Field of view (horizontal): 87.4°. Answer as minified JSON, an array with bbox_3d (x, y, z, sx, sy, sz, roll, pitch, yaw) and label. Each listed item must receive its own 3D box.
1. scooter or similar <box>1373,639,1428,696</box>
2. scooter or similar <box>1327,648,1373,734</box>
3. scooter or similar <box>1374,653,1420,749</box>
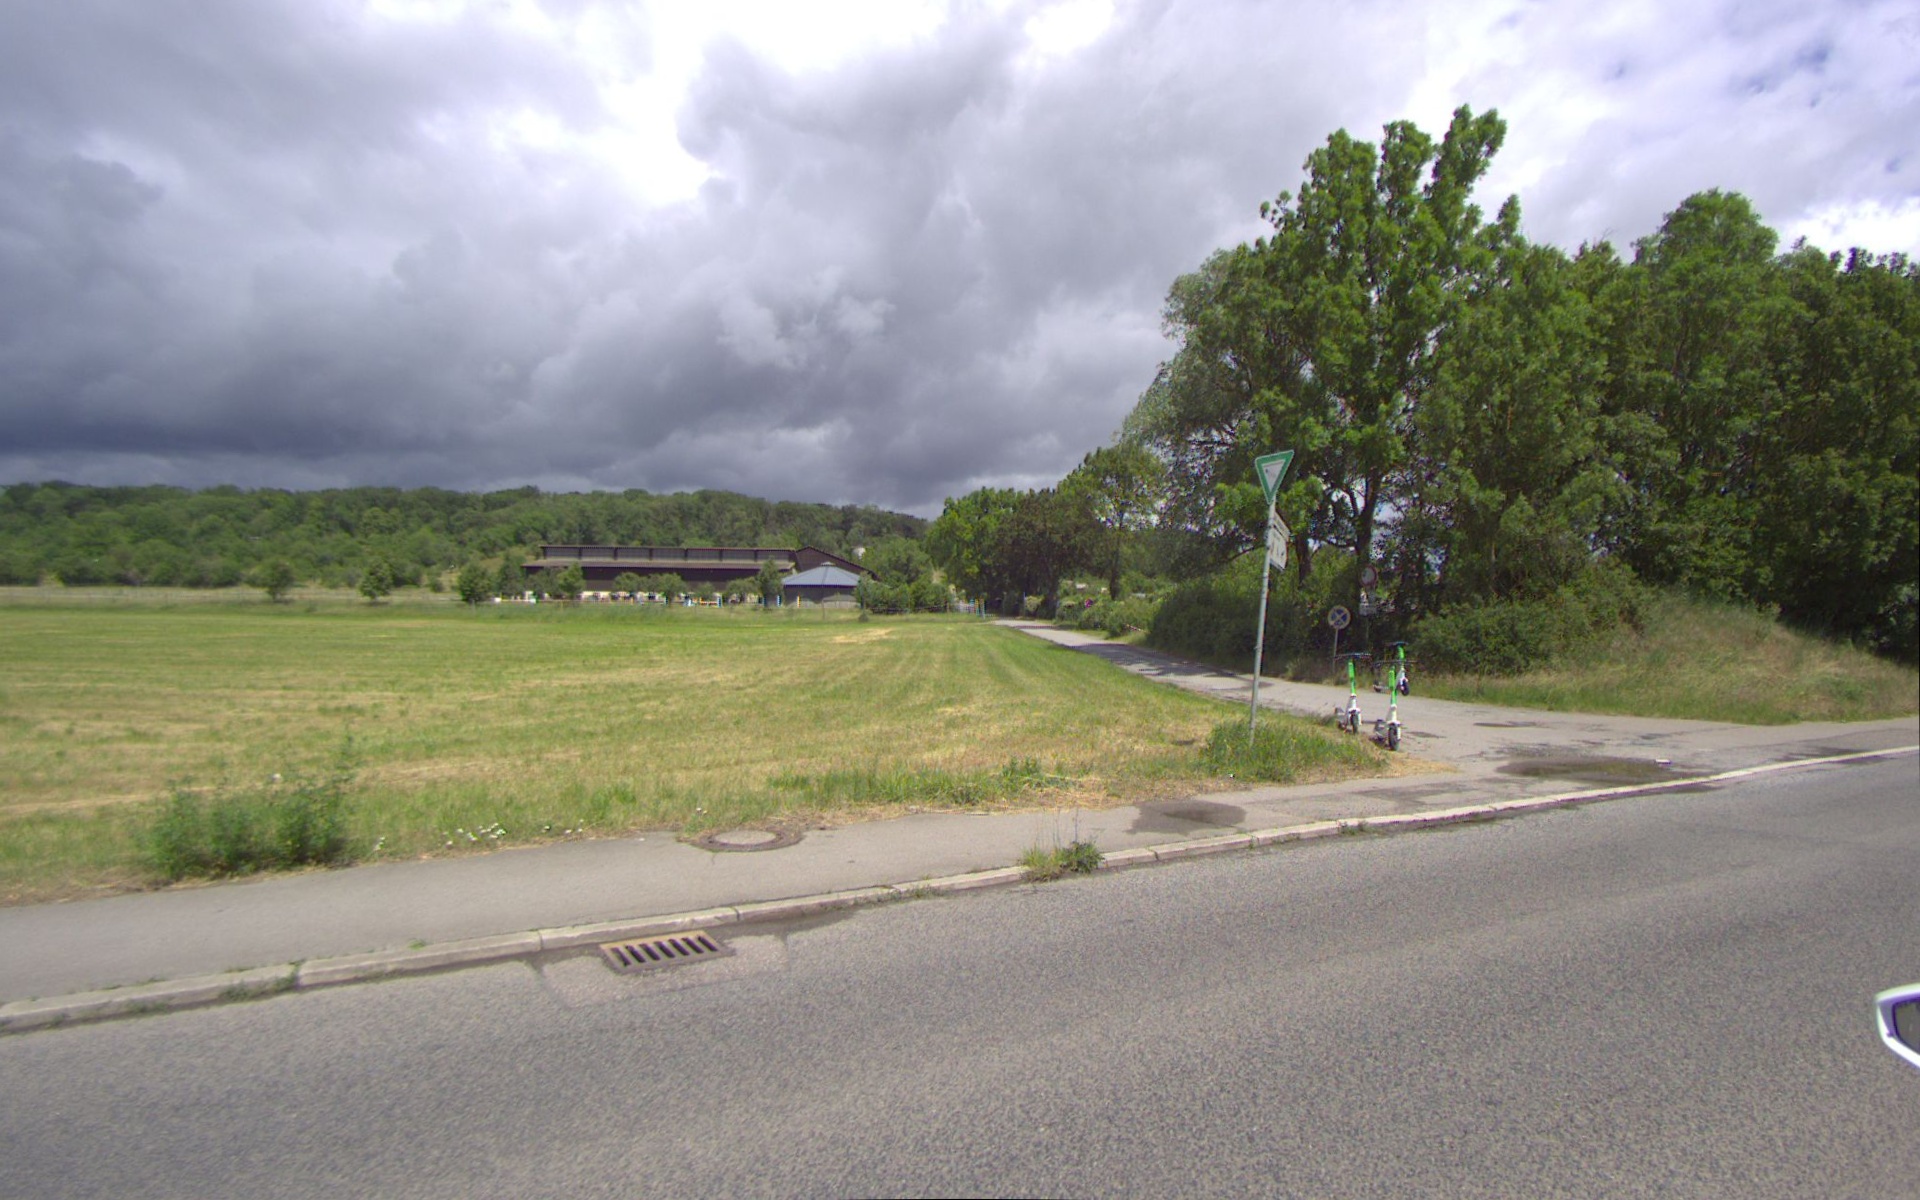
[{"bbox_3d":[9.795,1.484,22.379,0.400,1.184,1.243,1,-1,-17],"label":"scooter or similar"},{"bbox_3d":[5.852,1.343,15.102,0.398,1.184,1.352,1,-1,11],"label":"scooter or similar"},{"bbox_3d":[5.921,1.336,13.632,0.399,1.184,1.351,1,-1,17],"label":"scooter or similar"}]
